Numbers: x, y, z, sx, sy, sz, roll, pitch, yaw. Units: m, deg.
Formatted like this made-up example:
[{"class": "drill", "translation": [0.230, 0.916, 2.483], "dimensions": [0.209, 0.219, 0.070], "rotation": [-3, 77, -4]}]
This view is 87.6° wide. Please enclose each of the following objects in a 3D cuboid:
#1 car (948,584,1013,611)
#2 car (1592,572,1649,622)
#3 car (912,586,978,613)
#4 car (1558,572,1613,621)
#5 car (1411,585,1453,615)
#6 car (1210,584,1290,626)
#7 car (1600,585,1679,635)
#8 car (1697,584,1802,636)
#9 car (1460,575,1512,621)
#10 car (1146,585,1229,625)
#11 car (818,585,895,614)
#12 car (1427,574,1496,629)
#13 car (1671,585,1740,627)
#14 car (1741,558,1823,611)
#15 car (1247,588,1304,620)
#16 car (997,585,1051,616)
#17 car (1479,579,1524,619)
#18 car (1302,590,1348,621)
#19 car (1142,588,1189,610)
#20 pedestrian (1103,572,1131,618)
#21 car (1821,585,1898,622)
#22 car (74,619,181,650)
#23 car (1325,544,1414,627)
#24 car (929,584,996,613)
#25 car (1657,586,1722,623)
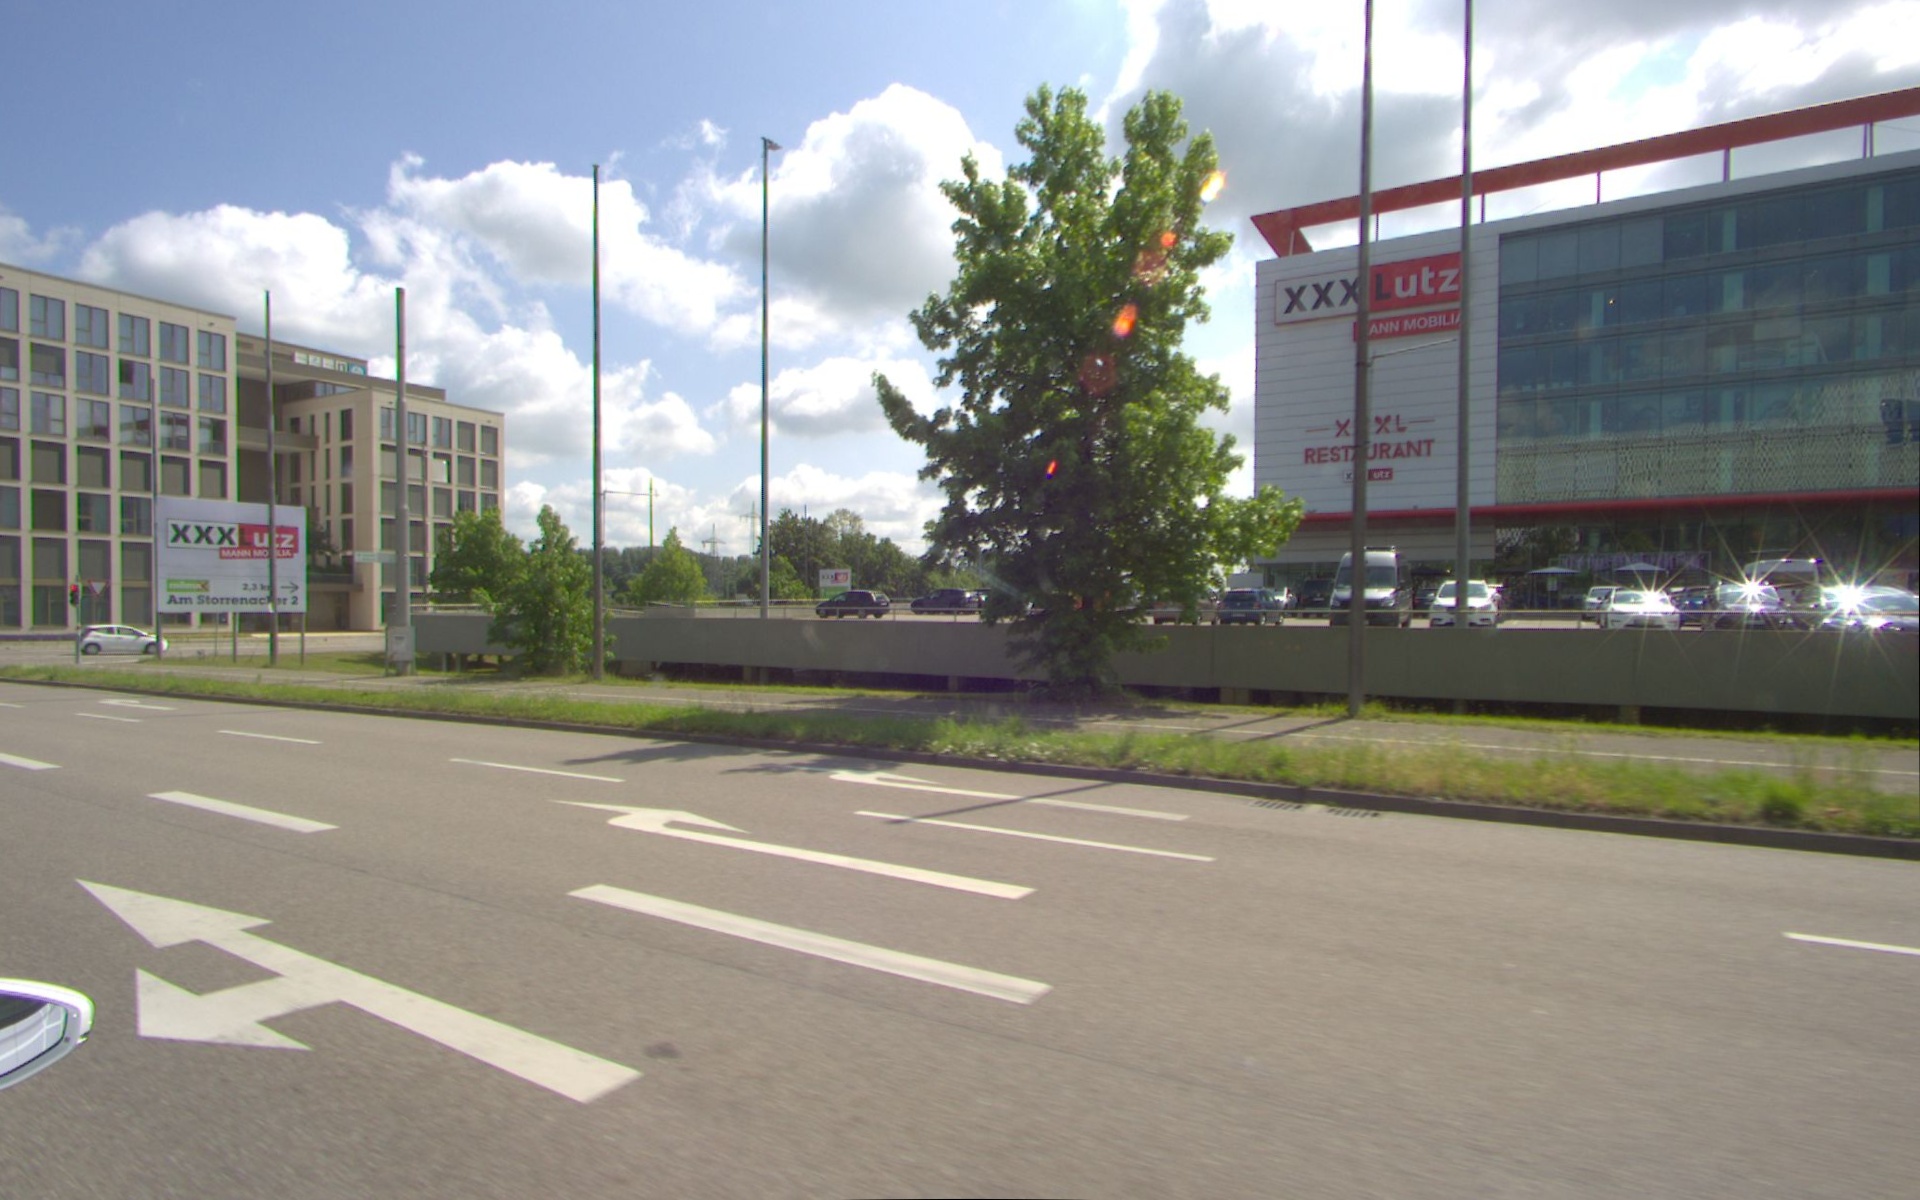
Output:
[{"class": "car", "translation": [1.373, -0.176, 67.895], "dimensions": [3.937, 1.751, 1.993], "rotation": [1, -1, 28]}, {"class": "car", "translation": [26.105, -0.075, 39.643], "dimensions": [1.749, 1.861, 3.878], "rotation": [1, -1, 32]}, {"class": "car", "translation": [-0.930, -0.027, 63.180], "dimensions": [3.807, 1.621, 1.742], "rotation": [1, -1, 28]}, {"class": "car", "translation": [28.041, -0.108, 44.997], "dimensions": [1.970, 2.040, 3.982], "rotation": [1, -1, 31]}, {"class": "car", "translation": [23.058, 0.009, 48.858], "dimensions": [1.529, 1.388, 3.432], "rotation": [1, -1, 31]}, {"class": "car", "translation": [11.238, 0.258, 38.538], "dimensions": [1.956, 1.503, 4.863], "rotation": [-1, -2, 29]}, {"class": "car", "translation": [21.116, 0.265, 31.243], "dimensions": [1.700, 1.453, 4.177], "rotation": [1, 1, 30]}, {"class": "car", "translation": [23.788, 0.253, 30.331], "dimensions": [1.864, 1.453, 4.177], "rotation": [1, 1, 30]}, {"class": "car", "translation": [22.459, -0.050, 42.722], "dimensions": [1.748, 1.861, 3.879], "rotation": [1, -1, 31]}, {"class": "car", "translation": [9.035, 0.250, 39.472], "dimensions": [1.956, 1.472, 4.863], "rotation": [-1, -2, 29]}, {"class": "car", "translation": [-5.713, 0.000, 55.217], "dimensions": [3.808, 1.540, 1.869], "rotation": [-1, -2, 28]}, {"class": "car", "translation": [15.284, 0.093, 30.448], "dimensions": [1.721, 1.534, 3.984], "rotation": [-1, -2, 29]}, {"class": "car", "translation": [28.447, 0.257, 38.298], "dimensions": [1.718, 1.536, 3.790], "rotation": [1, -1, 31]}, {"class": "car", "translation": [33.348, -0.597, 40.737], "dimensions": [1.970, 1.976, 3.982], "rotation": [1, -1, 31]}, {"class": "car", "translation": [16.632, 0.219, 52.692], "dimensions": [1.971, 1.563, 3.981], "rotation": [1, -1, 32]}, {"class": "car", "translation": [3.535, 0.040, 54.957], "dimensions": [1.609, 1.596, 3.897], "rotation": [1, -1, 26]}, {"class": "car", "translation": [25.455, -0.020, 47.019], "dimensions": [1.723, 1.728, 3.737], "rotation": [1, -1, 30]}, {"class": "car", "translation": [18.459, 0.308, 50.576], "dimensions": [1.562, 1.484, 3.520], "rotation": [1, -1, 31]}, {"class": "car", "translation": [12.353, -0.054, 60.008], "dimensions": [1.669, 1.199, 3.894], "rotation": [1, -1, 28]}, {"class": "pedestrian", "translation": [7.102, -0.203, 45.273], "dimensions": [0.944, 2.040, 0.958], "rotation": [1, 0, 31]}, {"class": "car", "translation": [36.393, 0.164, 40.605], "dimensions": [1.604, 1.438, 3.563], "rotation": [1, -1, 30]}, {"class": "car", "translation": [-41.911, 1.720, 50.478], "dimensions": [1.671, 1.485, 3.844], "rotation": [1, -1, 32]}, {"class": "car", "translation": [13.290, -0.341, 32.311], "dimensions": [2.030, 2.396, 5.654], "rotation": [-1, -2, 29]}, {"class": "car", "translation": [0.138, -0.078, 65.244], "dimensions": [3.938, 1.751, 1.958], "rotation": [-1, -2, 28]}, {"class": "car", "translation": [31.122, 0.217, 42.808], "dimensions": [1.882, 1.452, 3.790], "rotation": [1, -1, 31]}]
